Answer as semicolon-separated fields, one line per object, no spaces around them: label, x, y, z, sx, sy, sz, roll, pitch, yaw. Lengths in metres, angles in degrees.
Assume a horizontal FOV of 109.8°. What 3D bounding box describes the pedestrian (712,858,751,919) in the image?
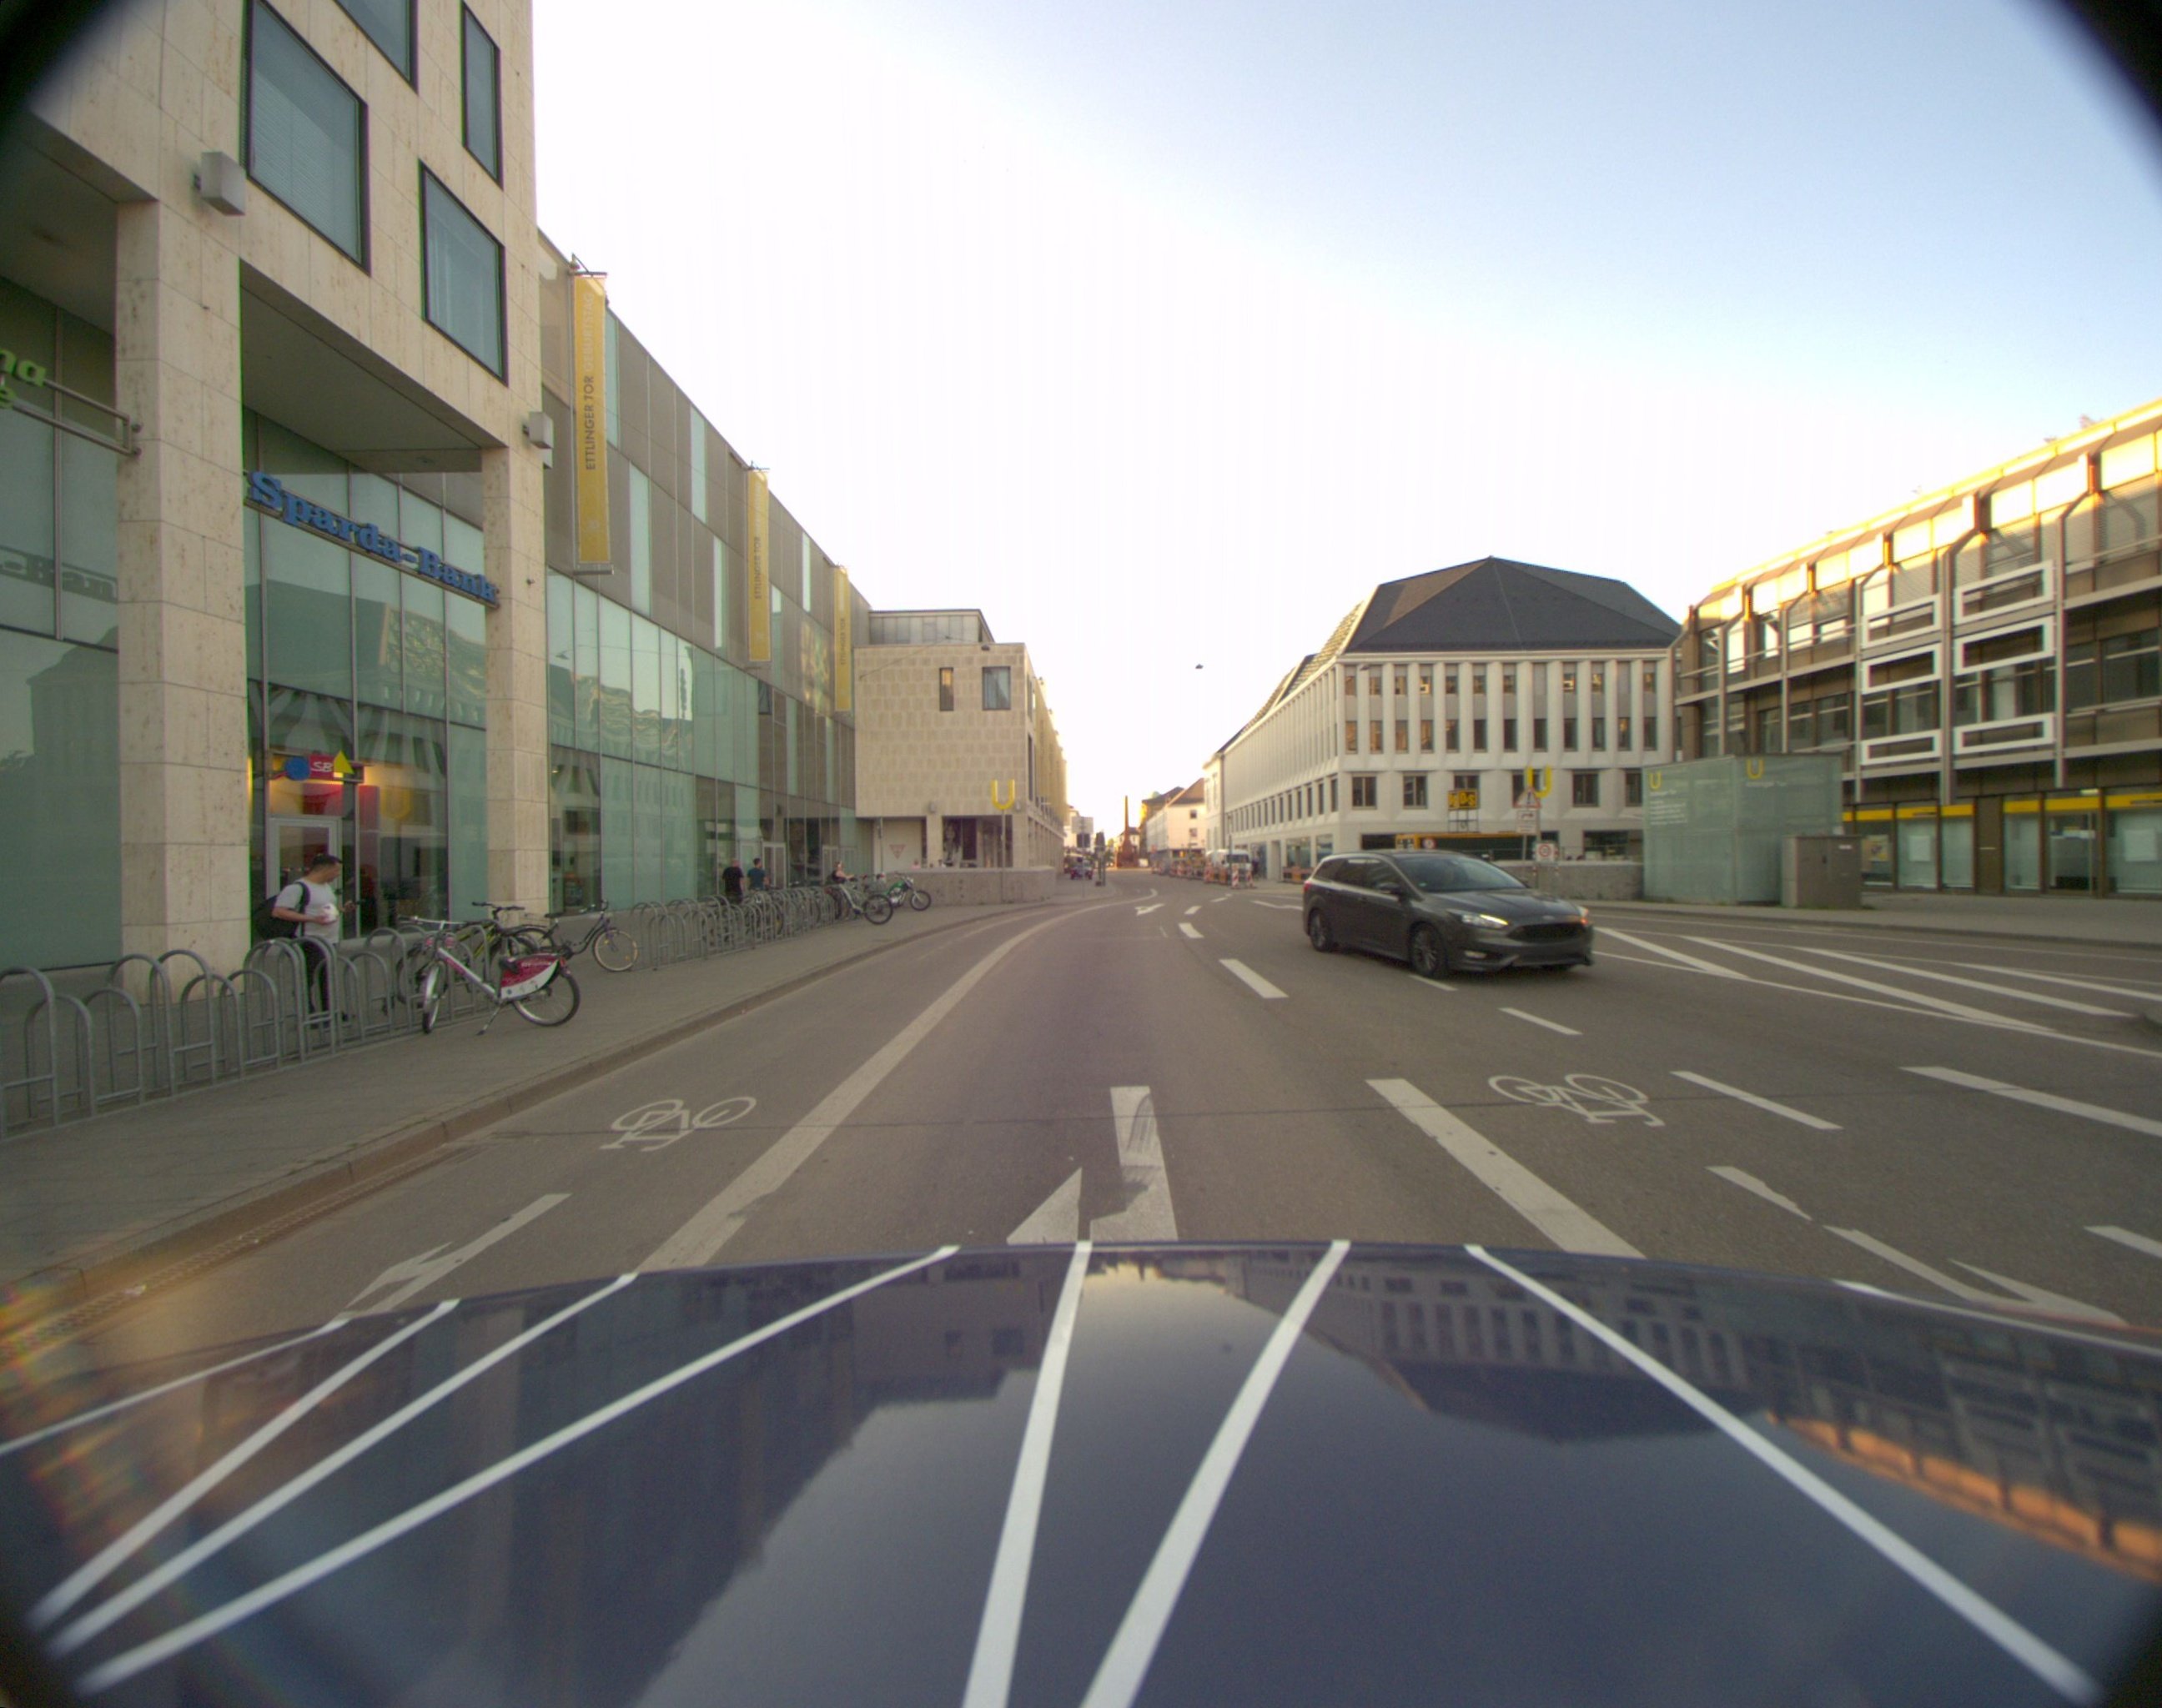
pedestrian;-9.698;0.943;21.097;0.741;1.638;0.820;-1;0;-7

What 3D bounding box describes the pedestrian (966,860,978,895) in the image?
pedestrian;-5.386;1.156;37.565;0.504;1.733;0.493;-1;0;3

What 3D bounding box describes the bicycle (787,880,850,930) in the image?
bicycle;-6.605;1.268;19.162;1.345;1.157;0.518;-3;0;-1

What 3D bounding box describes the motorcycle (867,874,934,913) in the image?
motorcycle;-5.712;1.245;24.084;2.007;1.217;0.480;-1;0;-2

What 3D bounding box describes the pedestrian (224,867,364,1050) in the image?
pedestrian;-7.603;0.973;7.365;0.707;1.682;0.630;-1;0;9

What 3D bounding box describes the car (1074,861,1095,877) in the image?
car;0.335;1.296;67.827;1.798;1.365;3.671;-1;0;2

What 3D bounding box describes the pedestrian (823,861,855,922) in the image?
pedestrian;-6.689;1.027;21.039;0.809;1.633;0.646;-1;0;-18

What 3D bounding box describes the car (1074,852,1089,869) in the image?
car;0.133;0.836;100.244;1.798;2.198;3.671;-1;0;2

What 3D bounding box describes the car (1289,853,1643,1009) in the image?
car;4.454;0.775;9.719;1.763;1.454;4.376;-2;0;-9

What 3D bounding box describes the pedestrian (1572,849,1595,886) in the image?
pedestrian;20.401;0.535;30.858;0.532;1.487;0.555;-1;0;1

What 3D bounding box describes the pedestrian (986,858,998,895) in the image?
pedestrian;-4.279;1.079;36.478;0.454;1.733;0.493;-1;0;3

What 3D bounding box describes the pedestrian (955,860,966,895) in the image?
pedestrian;-6.119;1.193;38.616;0.454;1.733;0.493;-1;0;3

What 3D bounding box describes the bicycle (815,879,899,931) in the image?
bicycle;-5.391;1.222;18.319;1.838;1.140;0.466;-3;0;1

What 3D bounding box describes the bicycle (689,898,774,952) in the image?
bicycle;-6.656;1.348;14.502;1.345;0.927;0.518;-3;0;-1

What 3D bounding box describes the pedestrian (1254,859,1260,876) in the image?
pedestrian;13.848;1.035;59.765;0.350;1.308;0.338;-1;0;1

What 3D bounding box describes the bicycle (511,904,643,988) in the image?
bicycle;-7.304;1.319;11.072;1.447;1.058;0.580;-3;0;-10

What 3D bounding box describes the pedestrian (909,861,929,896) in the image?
pedestrian;-8.045;1.222;37.828;0.793;1.733;0.657;-1;0;3

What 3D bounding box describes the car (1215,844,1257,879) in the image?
car;11.985;0.592;59.162;2.141;2.540;6.050;-1;0;1

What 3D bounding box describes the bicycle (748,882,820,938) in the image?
bicycle;-6.661;1.241;17.077;1.345;1.157;0.518;-3;0;-1

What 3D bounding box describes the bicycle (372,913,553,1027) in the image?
bicycle;-6.800;1.263;8.391;1.518;1.117;0.581;-3;0;4

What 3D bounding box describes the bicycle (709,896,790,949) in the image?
bicycle;-6.598;1.357;15.148;1.345;0.927;0.518;-3;0;-1

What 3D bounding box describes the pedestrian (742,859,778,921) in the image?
pedestrian;-8.857;0.977;20.987;0.698;1.686;0.820;-1;0;-7

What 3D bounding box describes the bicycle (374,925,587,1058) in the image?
bicycle;-5.400;1.224;6.866;1.518;1.057;0.466;-3;0;1

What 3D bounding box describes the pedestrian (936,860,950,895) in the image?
pedestrian;-6.842;1.163;37.714;0.494;1.733;0.657;-1;0;3
